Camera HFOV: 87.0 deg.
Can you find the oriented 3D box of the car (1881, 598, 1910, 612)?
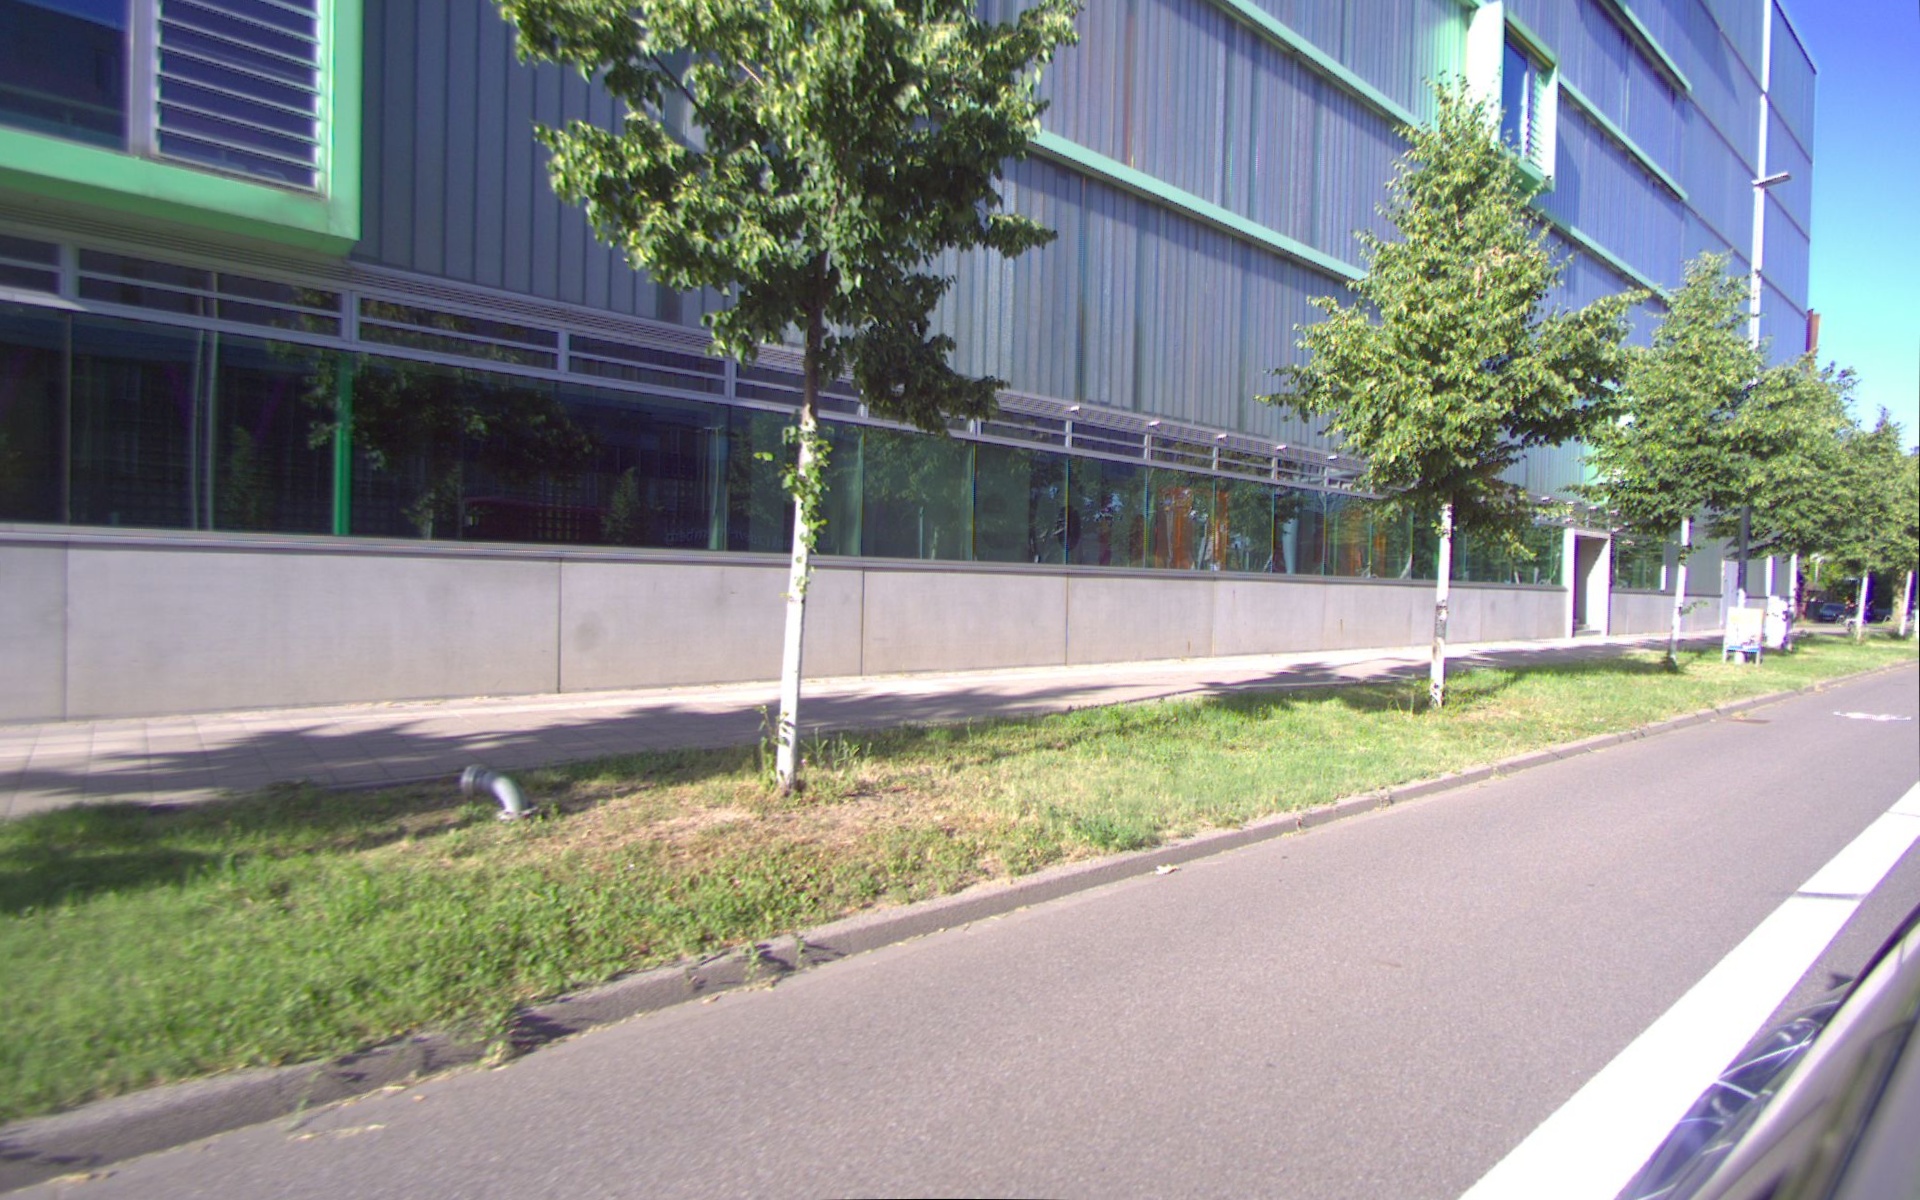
[{"bbox_3d":[112.485,0.635,121.643,4.572,1.548,1.998,0,3,-41],"label":"car"}]

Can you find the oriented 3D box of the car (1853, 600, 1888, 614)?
[{"bbox_3d":[101.858,0.743,113.166,4.820,1.504,1.900,0,1,-35],"label":"car"}]

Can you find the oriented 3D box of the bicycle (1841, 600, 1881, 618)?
[{"bbox_3d":[65.564,0.635,73.677,0.540,1.218,2.108,2,1,-25],"label":"bicycle"}]

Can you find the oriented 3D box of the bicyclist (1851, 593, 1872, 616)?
[{"bbox_3d":[65.573,0.319,73.641,0.777,1.674,0.878,2,1,-28],"label":"bicyclist"}]

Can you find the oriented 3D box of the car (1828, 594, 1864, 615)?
[{"bbox_3d":[94.082,0.454,107.417,4.977,2.061,1.899,0,3,-38],"label":"car"}]

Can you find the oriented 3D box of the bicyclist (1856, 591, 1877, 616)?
[{"bbox_3d":[66.364,0.278,74.097,0.815,1.759,0.878,2,1,-28],"label":"bicyclist"}]

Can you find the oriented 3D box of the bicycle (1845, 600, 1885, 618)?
[{"bbox_3d":[66.337,0.641,74.180,0.540,1.218,2.107,2,1,-28],"label":"bicycle"}]
